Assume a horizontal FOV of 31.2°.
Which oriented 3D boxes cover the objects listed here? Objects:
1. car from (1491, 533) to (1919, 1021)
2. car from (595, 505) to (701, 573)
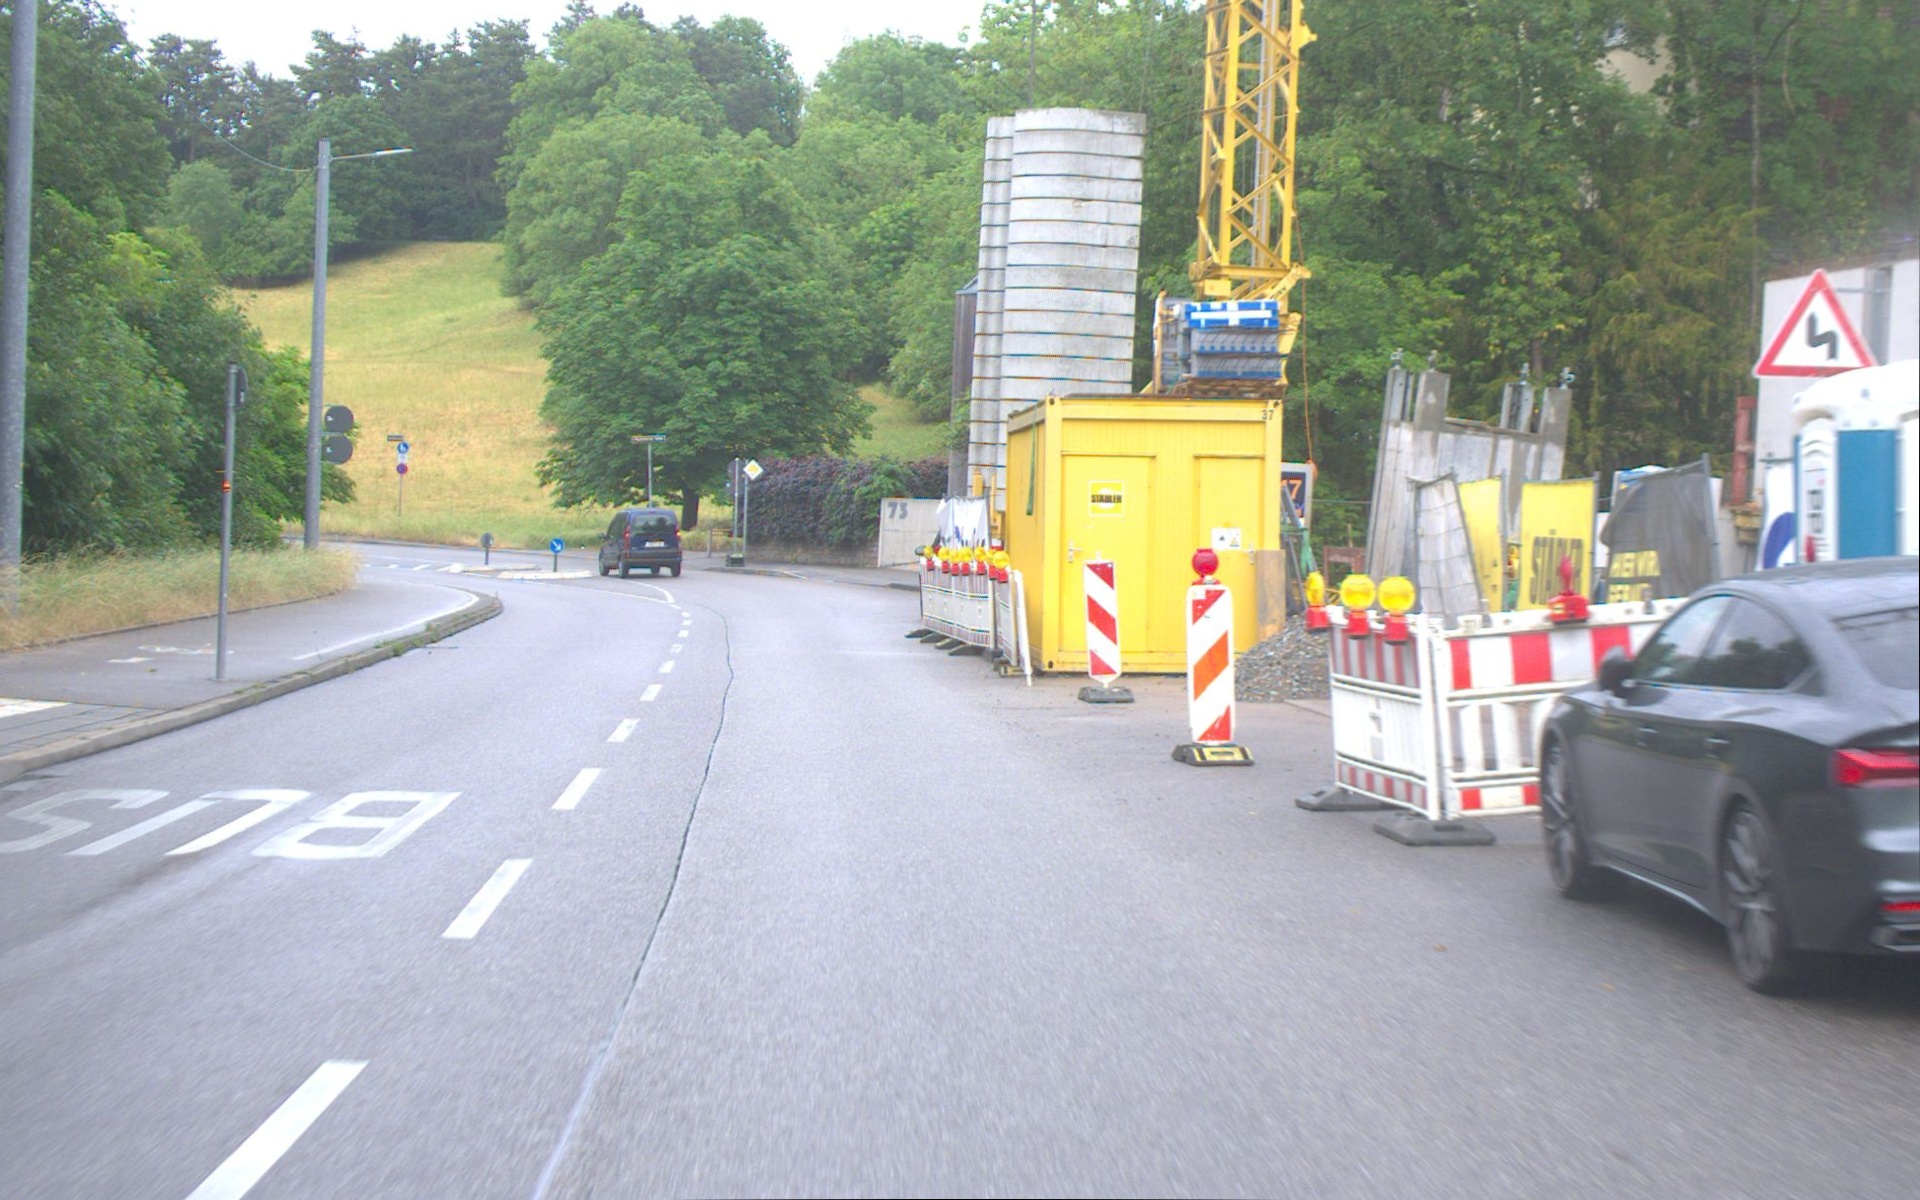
[{"bbox_3d":[3.454,0.496,12.671,1.931,1.417,4.838,1,1,-4],"label":"car"},{"bbox_3d":[-8.446,-1.665,92.776,1.931,1.745,4.002,1,2,-19],"label":"car"}]
